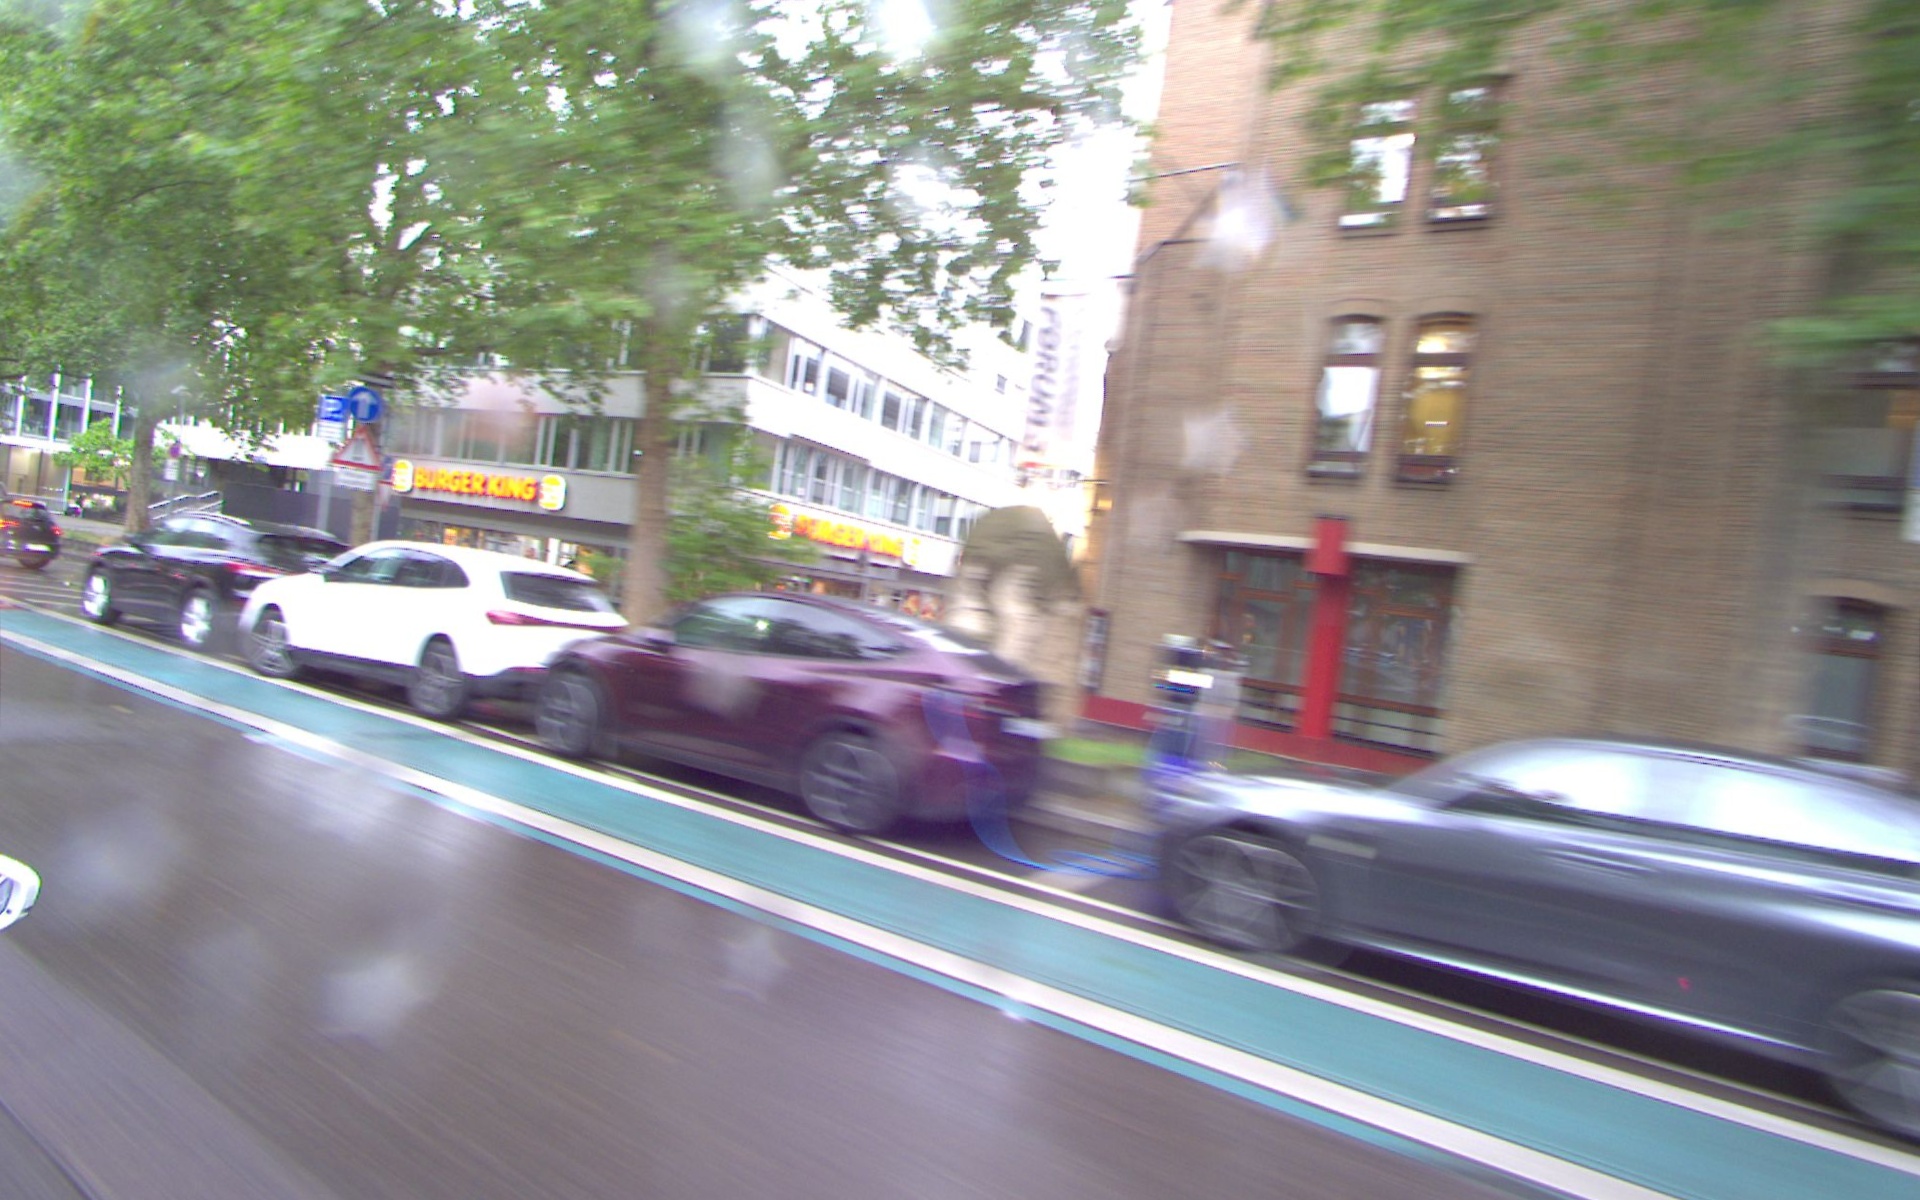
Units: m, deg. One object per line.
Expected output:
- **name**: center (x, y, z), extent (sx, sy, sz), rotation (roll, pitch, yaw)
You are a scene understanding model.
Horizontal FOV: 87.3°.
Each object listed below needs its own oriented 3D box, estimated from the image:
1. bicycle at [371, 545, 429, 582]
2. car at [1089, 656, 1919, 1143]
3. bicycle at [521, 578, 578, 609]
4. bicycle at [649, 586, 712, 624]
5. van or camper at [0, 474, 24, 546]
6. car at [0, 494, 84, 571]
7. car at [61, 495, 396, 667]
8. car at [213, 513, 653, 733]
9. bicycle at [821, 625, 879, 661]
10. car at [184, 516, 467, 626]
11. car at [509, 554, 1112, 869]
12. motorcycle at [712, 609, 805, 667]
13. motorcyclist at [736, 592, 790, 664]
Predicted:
- **bicycle**: center (-17.583, -1.151, 31.554), extent (1.879, 0.937, 0.641), rotation (8, 8, 26)
- **car**: center (3.180, 1.352, 5.337), extent (4.509, 1.449, 1.746), rotation (7, -1, 31)
- **bicycle**: center (-14.575, -0.239, 35.701), extent (1.878, 0.829, 0.643), rotation (7, 0, 23)
- **bicycle**: center (-9.040, 0.154, 32.521), extent (2.040, 0.907, 0.584), rotation (10, 2, 29)
- **van or camper**: center (-29.807, -2.933, 28.018), extent (4.881, 2.015, 1.993), rotation (9, -1, -21)
- **car**: center (-20.741, -1.588, 20.570), extent (3.927, 1.430, 1.770), rotation (7, 0, -2)
- **car**: center (-9.576, -0.276, 13.099), extent (4.349, 1.621, 1.797), rotation (7, -1, 30)
- **car**: center (-5.548, 0.194, 10.508), extent (4.333, 1.604, 1.756), rotation (7, -1, 27)
- **bicycle**: center (-3.519, 1.383, 32.274), extent (0.615, 0.948, 1.968), rotation (7, -1, 35)
- **car**: center (-13.035, -0.535, 20.947), extent (4.432, 1.459, 1.869), rotation (8, -5, -8)
- **car**: center (-1.288, 0.745, 8.305), extent (4.481, 1.608, 1.999), rotation (7, -1, 28)
- **motorcycle**: center (-5.025, 0.941, 25.119), extent (1.983, 1.156, 0.869), rotation (8, 0, 13)
- **motorcyclist**: center (-4.908, 0.711, 25.089), extent (0.855, 1.664, 0.850), rotation (7, 0, 13)
